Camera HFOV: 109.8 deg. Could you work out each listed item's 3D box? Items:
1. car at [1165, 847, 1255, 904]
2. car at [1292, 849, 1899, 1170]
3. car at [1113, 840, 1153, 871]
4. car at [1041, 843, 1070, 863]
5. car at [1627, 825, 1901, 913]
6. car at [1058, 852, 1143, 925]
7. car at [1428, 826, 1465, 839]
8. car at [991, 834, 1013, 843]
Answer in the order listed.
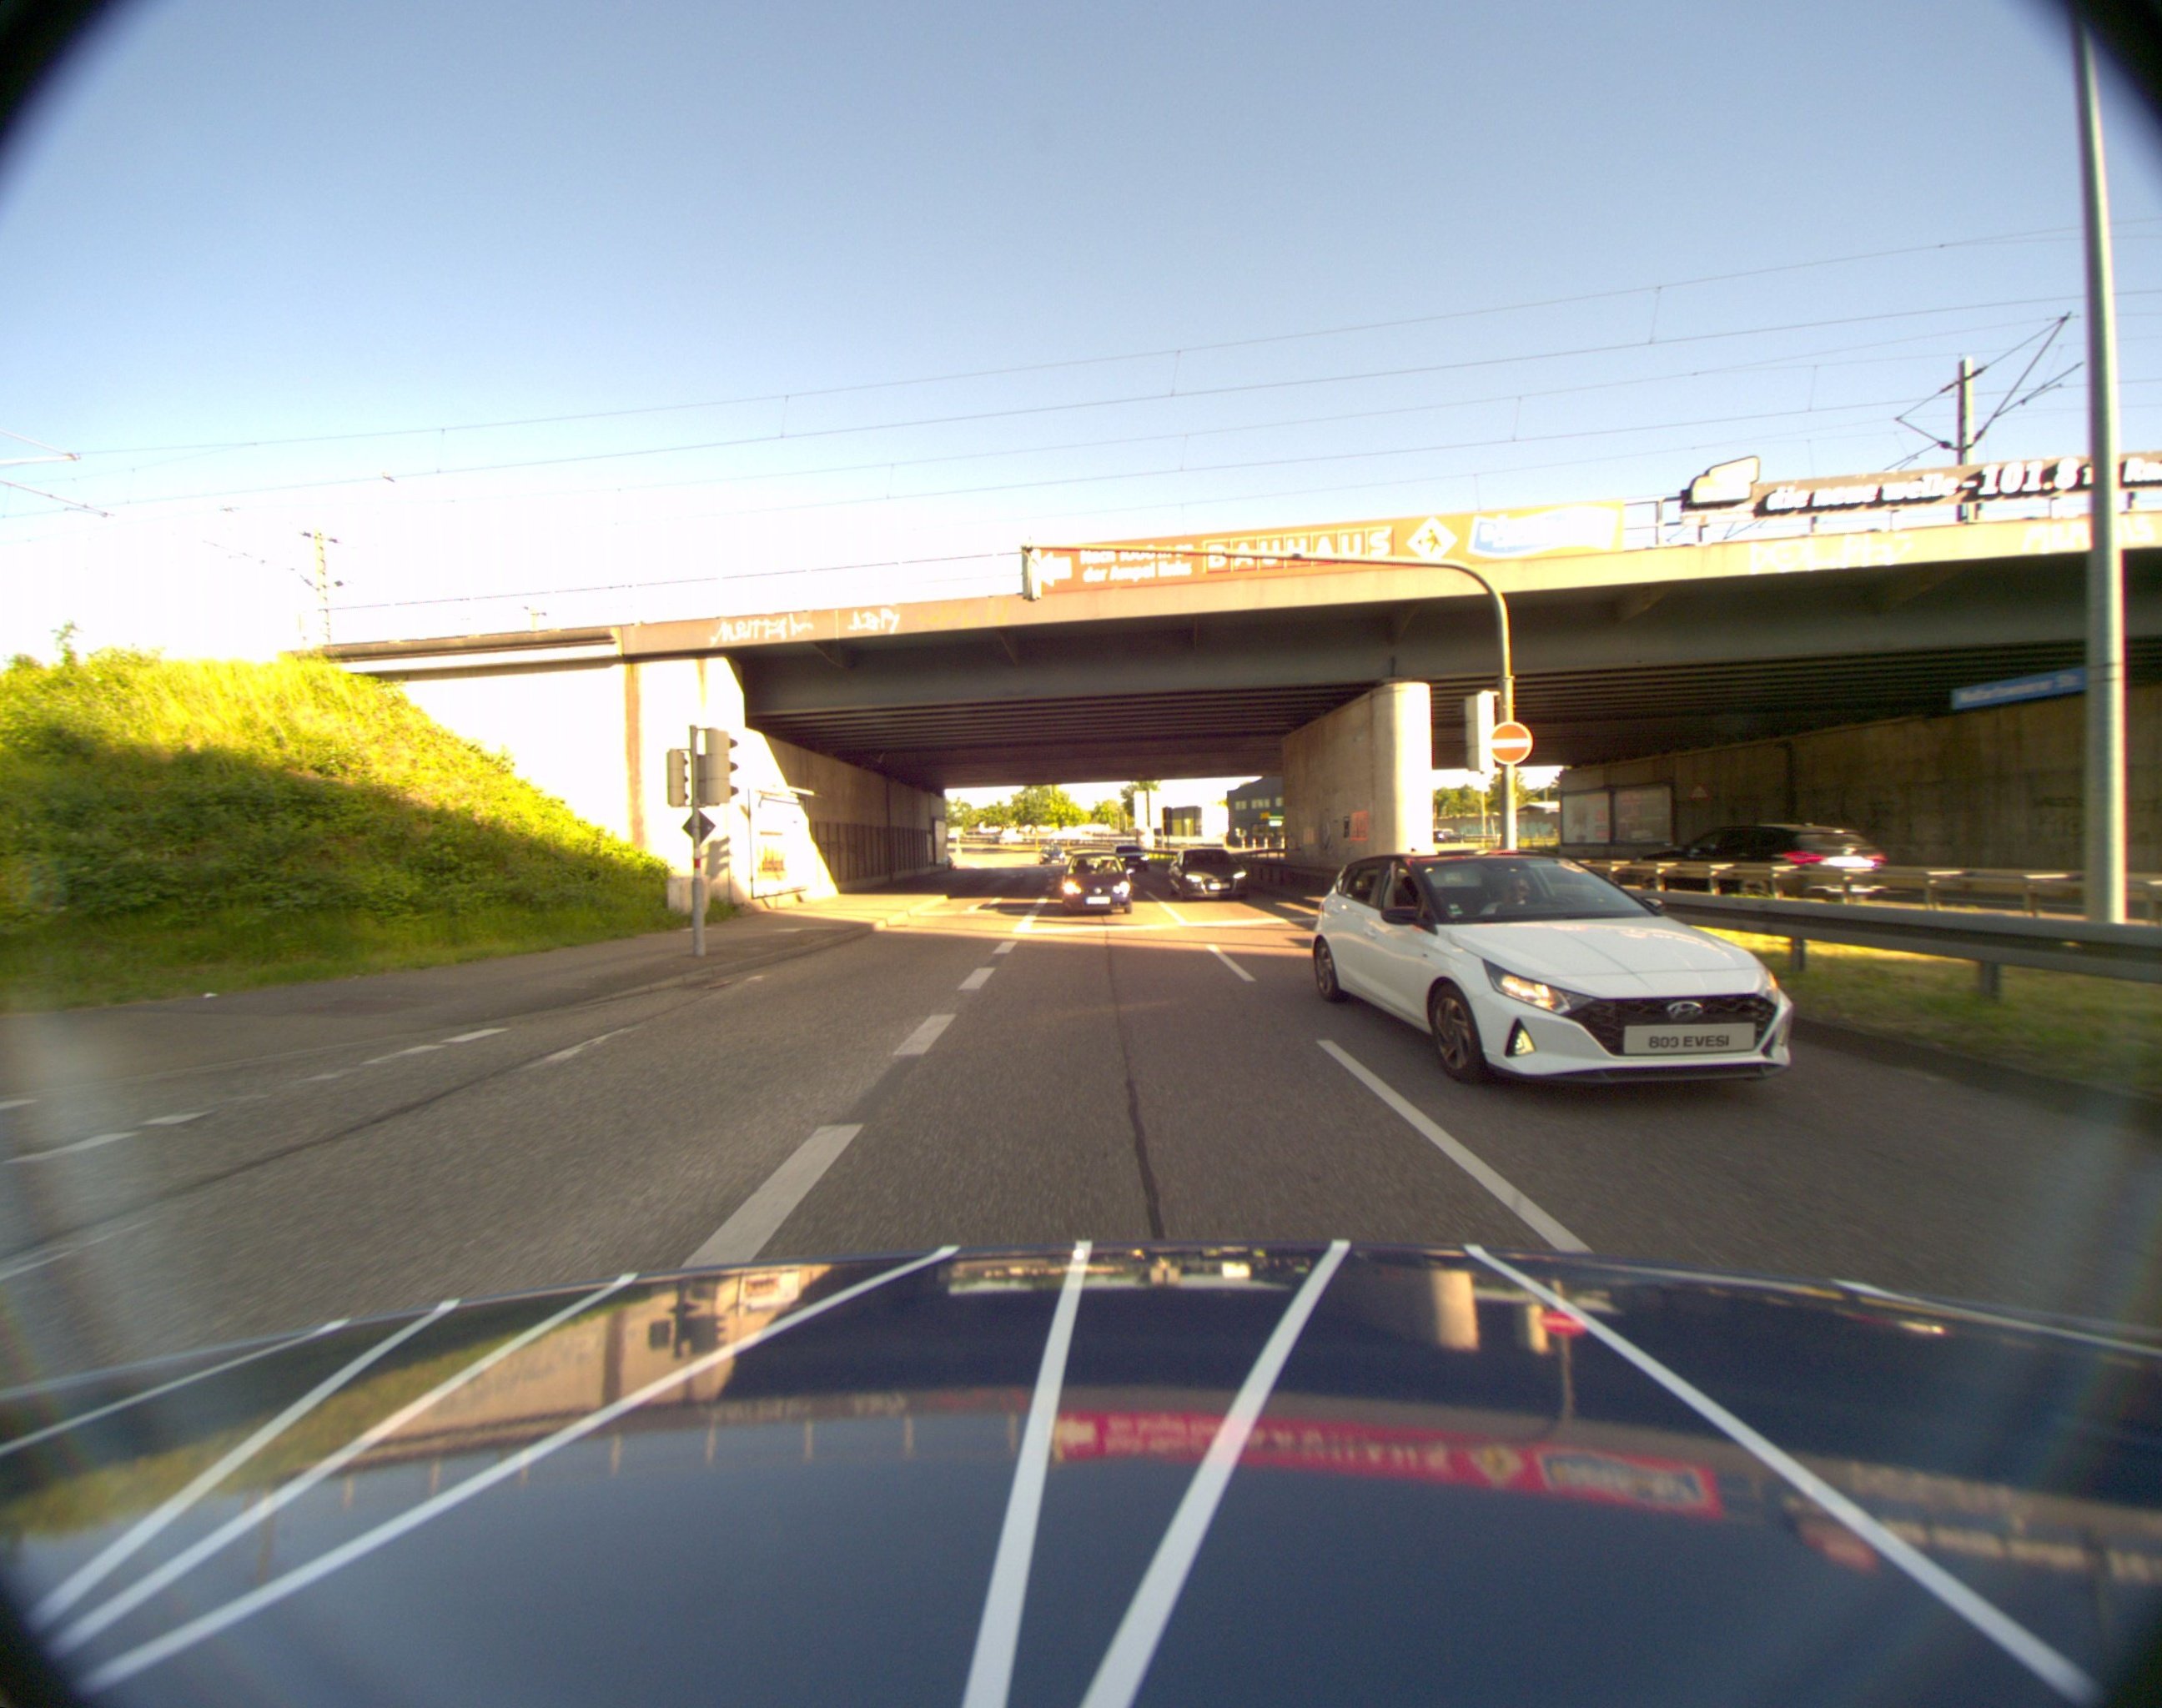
[{"bbox_3d":[3.541,0.549,21.552,1.848,1.412,3.981,-2,0,0],"label":"car"},{"bbox_3d":[3.102,0.753,5.733,1.738,1.471,3.990,-3,0,-2],"label":"car"},{"bbox_3d":[2.803,0.071,41.790,1.848,1.515,3.981,-2,0,0],"label":"car"},{"bbox_3d":[-2.046,-0.088,59.542,1.849,1.474,3.979,-2,0,-8],"label":"car"},{"bbox_3d":[14.326,0.222,16.395,1.829,1.616,4.528,0,2,1],"label":"car"},{"bbox_3d":[0.420,0.715,18.183,1.737,1.412,4.318,-2,1,0],"label":"car"},{"bbox_3d":[38.071,-2.242,79.105,4.191,1.274,1.825,-1,2,-40],"label":"car"},{"bbox_3d":[-13.389,-2.610,128.339,1.627,1.511,3.814,-3,2,-42],"label":"car"}]
